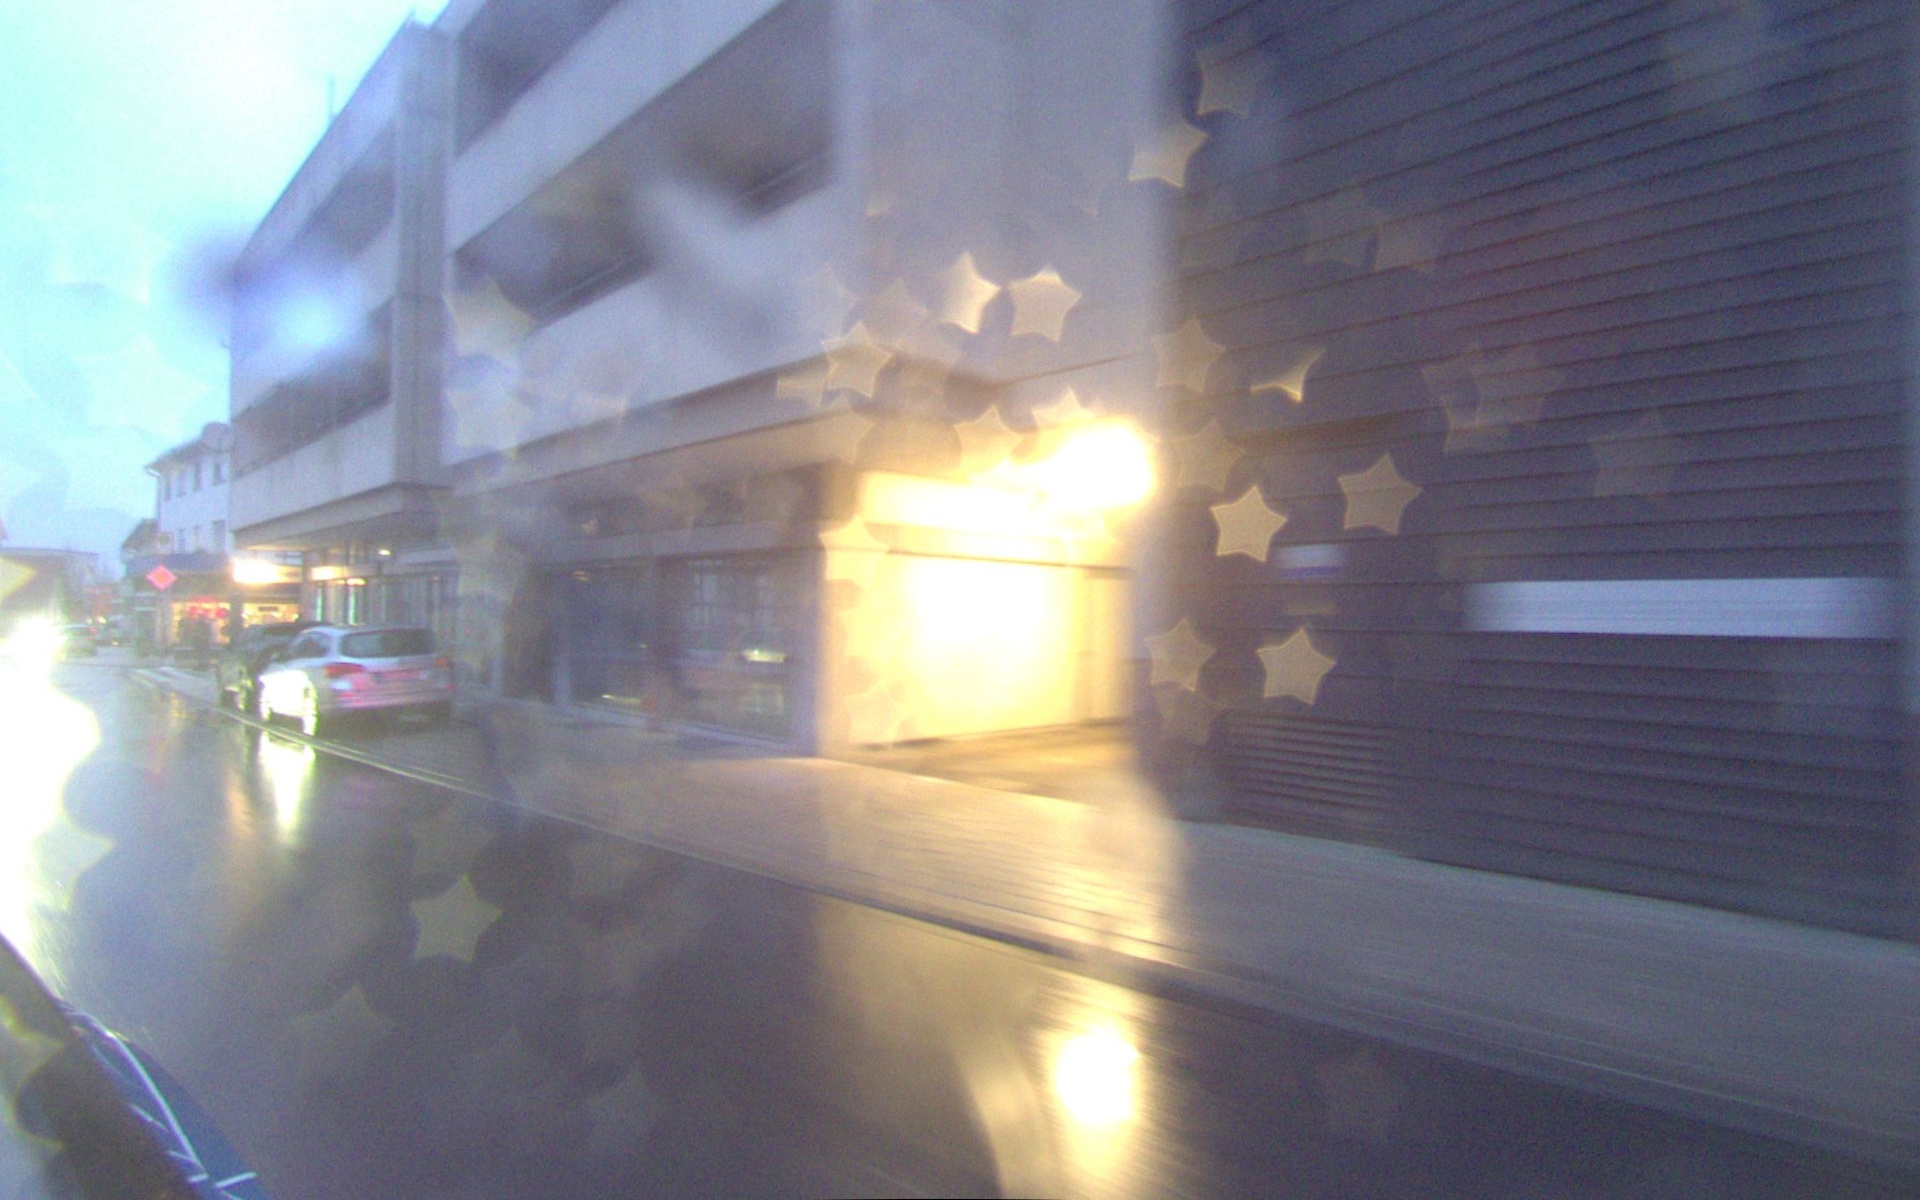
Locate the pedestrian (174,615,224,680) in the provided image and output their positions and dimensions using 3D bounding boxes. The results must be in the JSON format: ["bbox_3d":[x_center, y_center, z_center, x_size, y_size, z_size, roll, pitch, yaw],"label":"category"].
[{"bbox_3d":[-23.567,1.458,31.351,1.183,1.953,0.978,1,-3,-37],"label":"pedestrian"}]

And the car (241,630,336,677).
[{"bbox_3d":[-23.457,1.889,35.275,4.449,1.511,1.744,-4,-5,43],"label":"car"}]

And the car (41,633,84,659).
[{"bbox_3d":[-55.611,2.803,62.748,1.771,1.467,4.403,-1,-1,-39],"label":"car"}]

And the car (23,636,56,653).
[{"bbox_3d":[-85.797,4.110,94.371,1.770,1.522,4.009,3,-3,-36],"label":"car"}]

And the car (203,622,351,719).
[{"bbox_3d":[-12.631,1.211,18.621,1.596,1.544,3.931,-1,-1,-44],"label":"car"}]

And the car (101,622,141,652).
[{"bbox_3d":[-78.091,3.432,94.229,2.013,2.680,4.223,-2,-1,-29],"label":"car"}]

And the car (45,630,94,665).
[{"bbox_3d":[-44.731,2.357,50.816,1.701,1.626,3.819,-2,0,-43],"label":"car"}]

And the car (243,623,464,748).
[{"bbox_3d":[-8.986,1.133,14.815,4.429,1.457,1.657,-2,1,44],"label":"car"}]
